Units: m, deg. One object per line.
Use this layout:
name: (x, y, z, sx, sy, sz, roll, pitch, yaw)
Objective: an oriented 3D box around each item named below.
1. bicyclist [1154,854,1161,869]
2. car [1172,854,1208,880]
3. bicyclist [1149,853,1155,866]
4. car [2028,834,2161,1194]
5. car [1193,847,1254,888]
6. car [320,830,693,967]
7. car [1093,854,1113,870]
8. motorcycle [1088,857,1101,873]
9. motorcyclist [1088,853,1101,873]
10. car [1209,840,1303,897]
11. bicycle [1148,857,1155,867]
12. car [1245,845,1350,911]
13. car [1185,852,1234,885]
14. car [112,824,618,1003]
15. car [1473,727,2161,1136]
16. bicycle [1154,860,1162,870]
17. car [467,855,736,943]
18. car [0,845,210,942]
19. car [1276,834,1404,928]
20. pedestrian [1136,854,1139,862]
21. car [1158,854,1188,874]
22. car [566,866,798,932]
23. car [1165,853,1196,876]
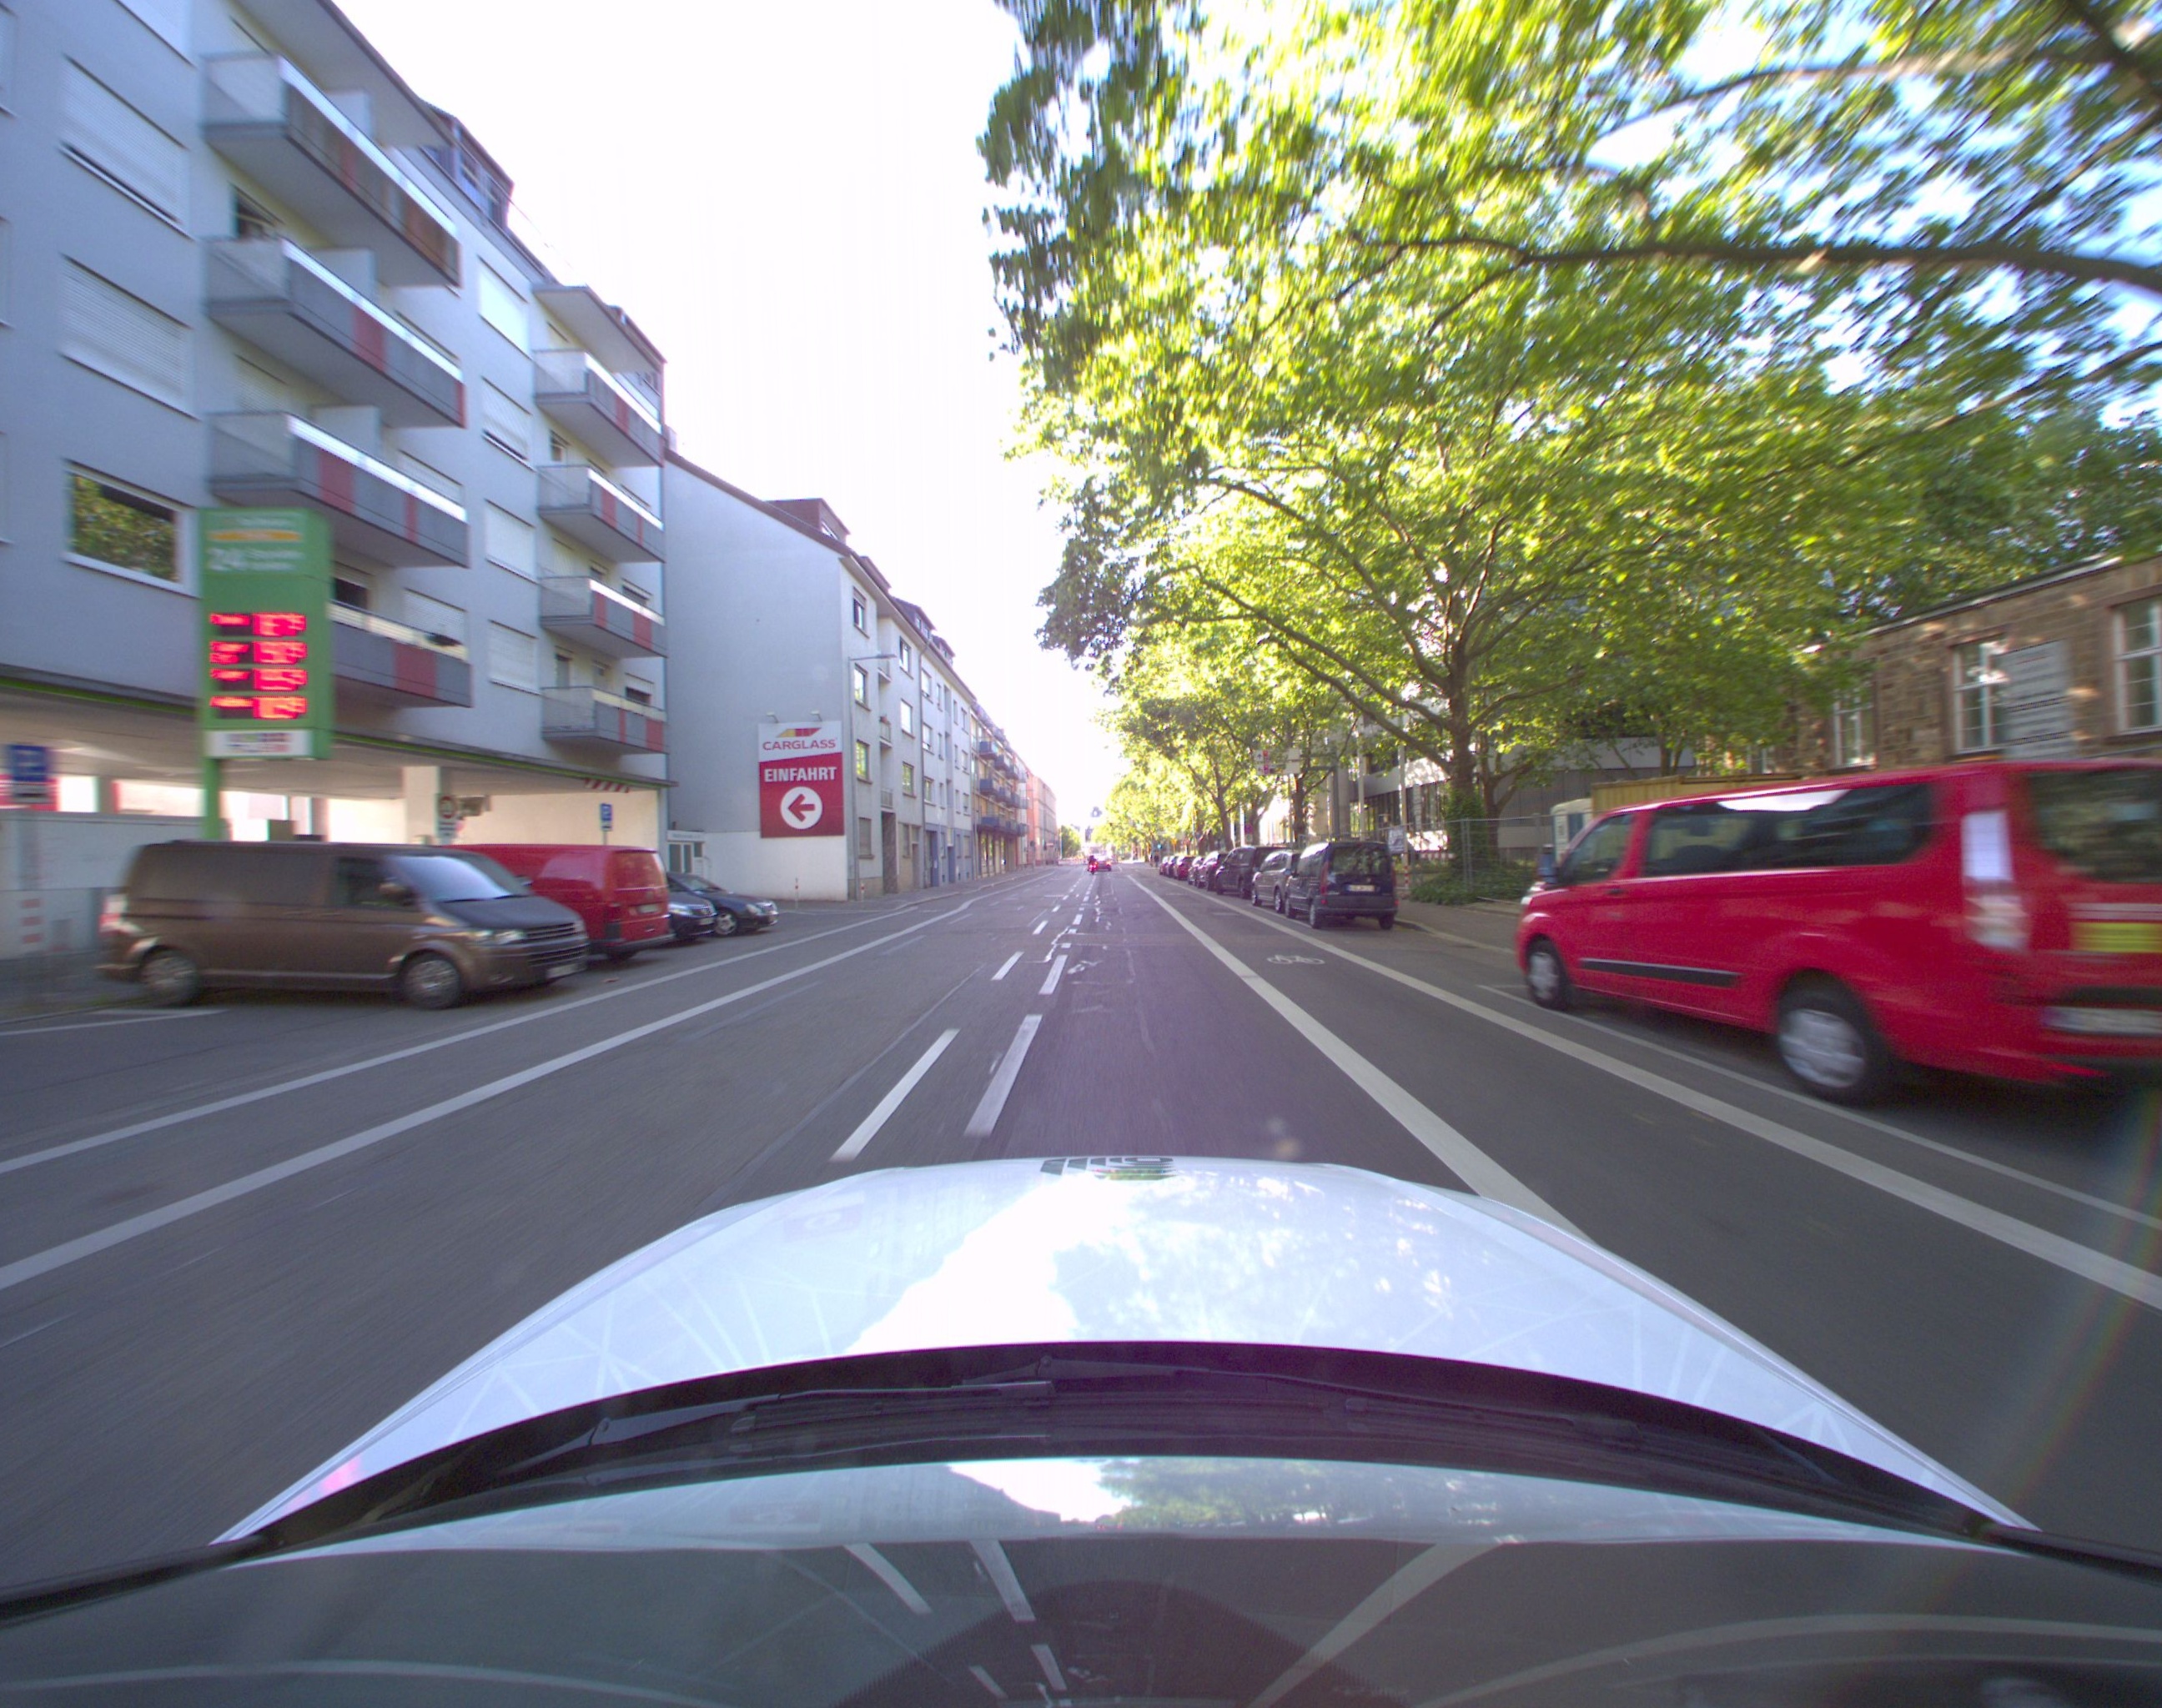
bicyclist: (7.771, 0.765, 82.459, 0.654, 1.530, 0.852, 0, -1, 1)
car: (6.497, 0.747, 49.003, 1.686, 1.479, 4.320, 0, 0, 1)
bicyclist: (7.930, 0.620, 91.228, 0.654, 1.530, 0.906, 0, -1, 1)
car: (5.205, 0.669, 1.953, 1.631, 1.485, 3.762, 0, 0, 3)
car: (5.982, 0.531, 34.678, 1.770, 1.628, 4.620, 0, 0, 0)
car: (-8.982, 0.648, 13.071, 4.405, 1.951, 2.147, 1, 0, 1)
car: (2.057, 0.751, 77.163, 1.822, 1.420, 3.815, -1, 0, 1)
motorcycle: (1.126, 0.876, 66.599, 1.009, 1.306, 2.673, -2, 0, 1)
motorcyclist: (1.096, 0.714, 66.561, 1.009, 1.602, 1.406, -2, 0, 1)
car: (6.147, 0.479, 29.214, 1.823, 1.841, 4.888, 0, 0, -7)
bicycle: (7.935, 0.935, 91.227, 0.654, 1.111, 2.186, 0, -1, 1)
car: (5.833, 0.604, 22.464, 1.688, 1.628, 4.328, 0, 0, -1)
car: (6.197, 0.675, 39.717, 1.688, 1.503, 4.018, 0, 0, -1)
car: (-8.687, 0.671, 10.234, 4.506, 1.951, 2.057, 1, 0, 1)
car: (5.456, 0.386, 6.582, 2.072, 1.994, 5.170, 0, 0, -1)
bicycle: (7.770, 1.119, 82.502, 0.654, 1.070, 1.927, 0, -1, 1)
car: (-9.358, 0.840, 16.149, 4.158, 1.563, 1.887, 1, 0, 1)
car: (-20.425, 0.759, 15.953, 1.714, 1.747, 4.586, -2, -1, 1)
car: (5.539, 0.523, 17.926, 1.686, 1.813, 4.133, 0, 0, 3)
pedestrian: (12.076, 0.898, 175.300, 0.590, 1.578, 0.527, 0, -1, 1)
car: (6.679, 0.712, 59.490, 1.688, 1.449, 4.434, 0, 0, -1)
car: (-8.892, 0.968, 18.445, 4.213, 1.380, 2.046, 0, -1, 1)
car: (6.625, 0.670, 54.503, 1.686, 1.466, 4.068, 0, 0, 2)
